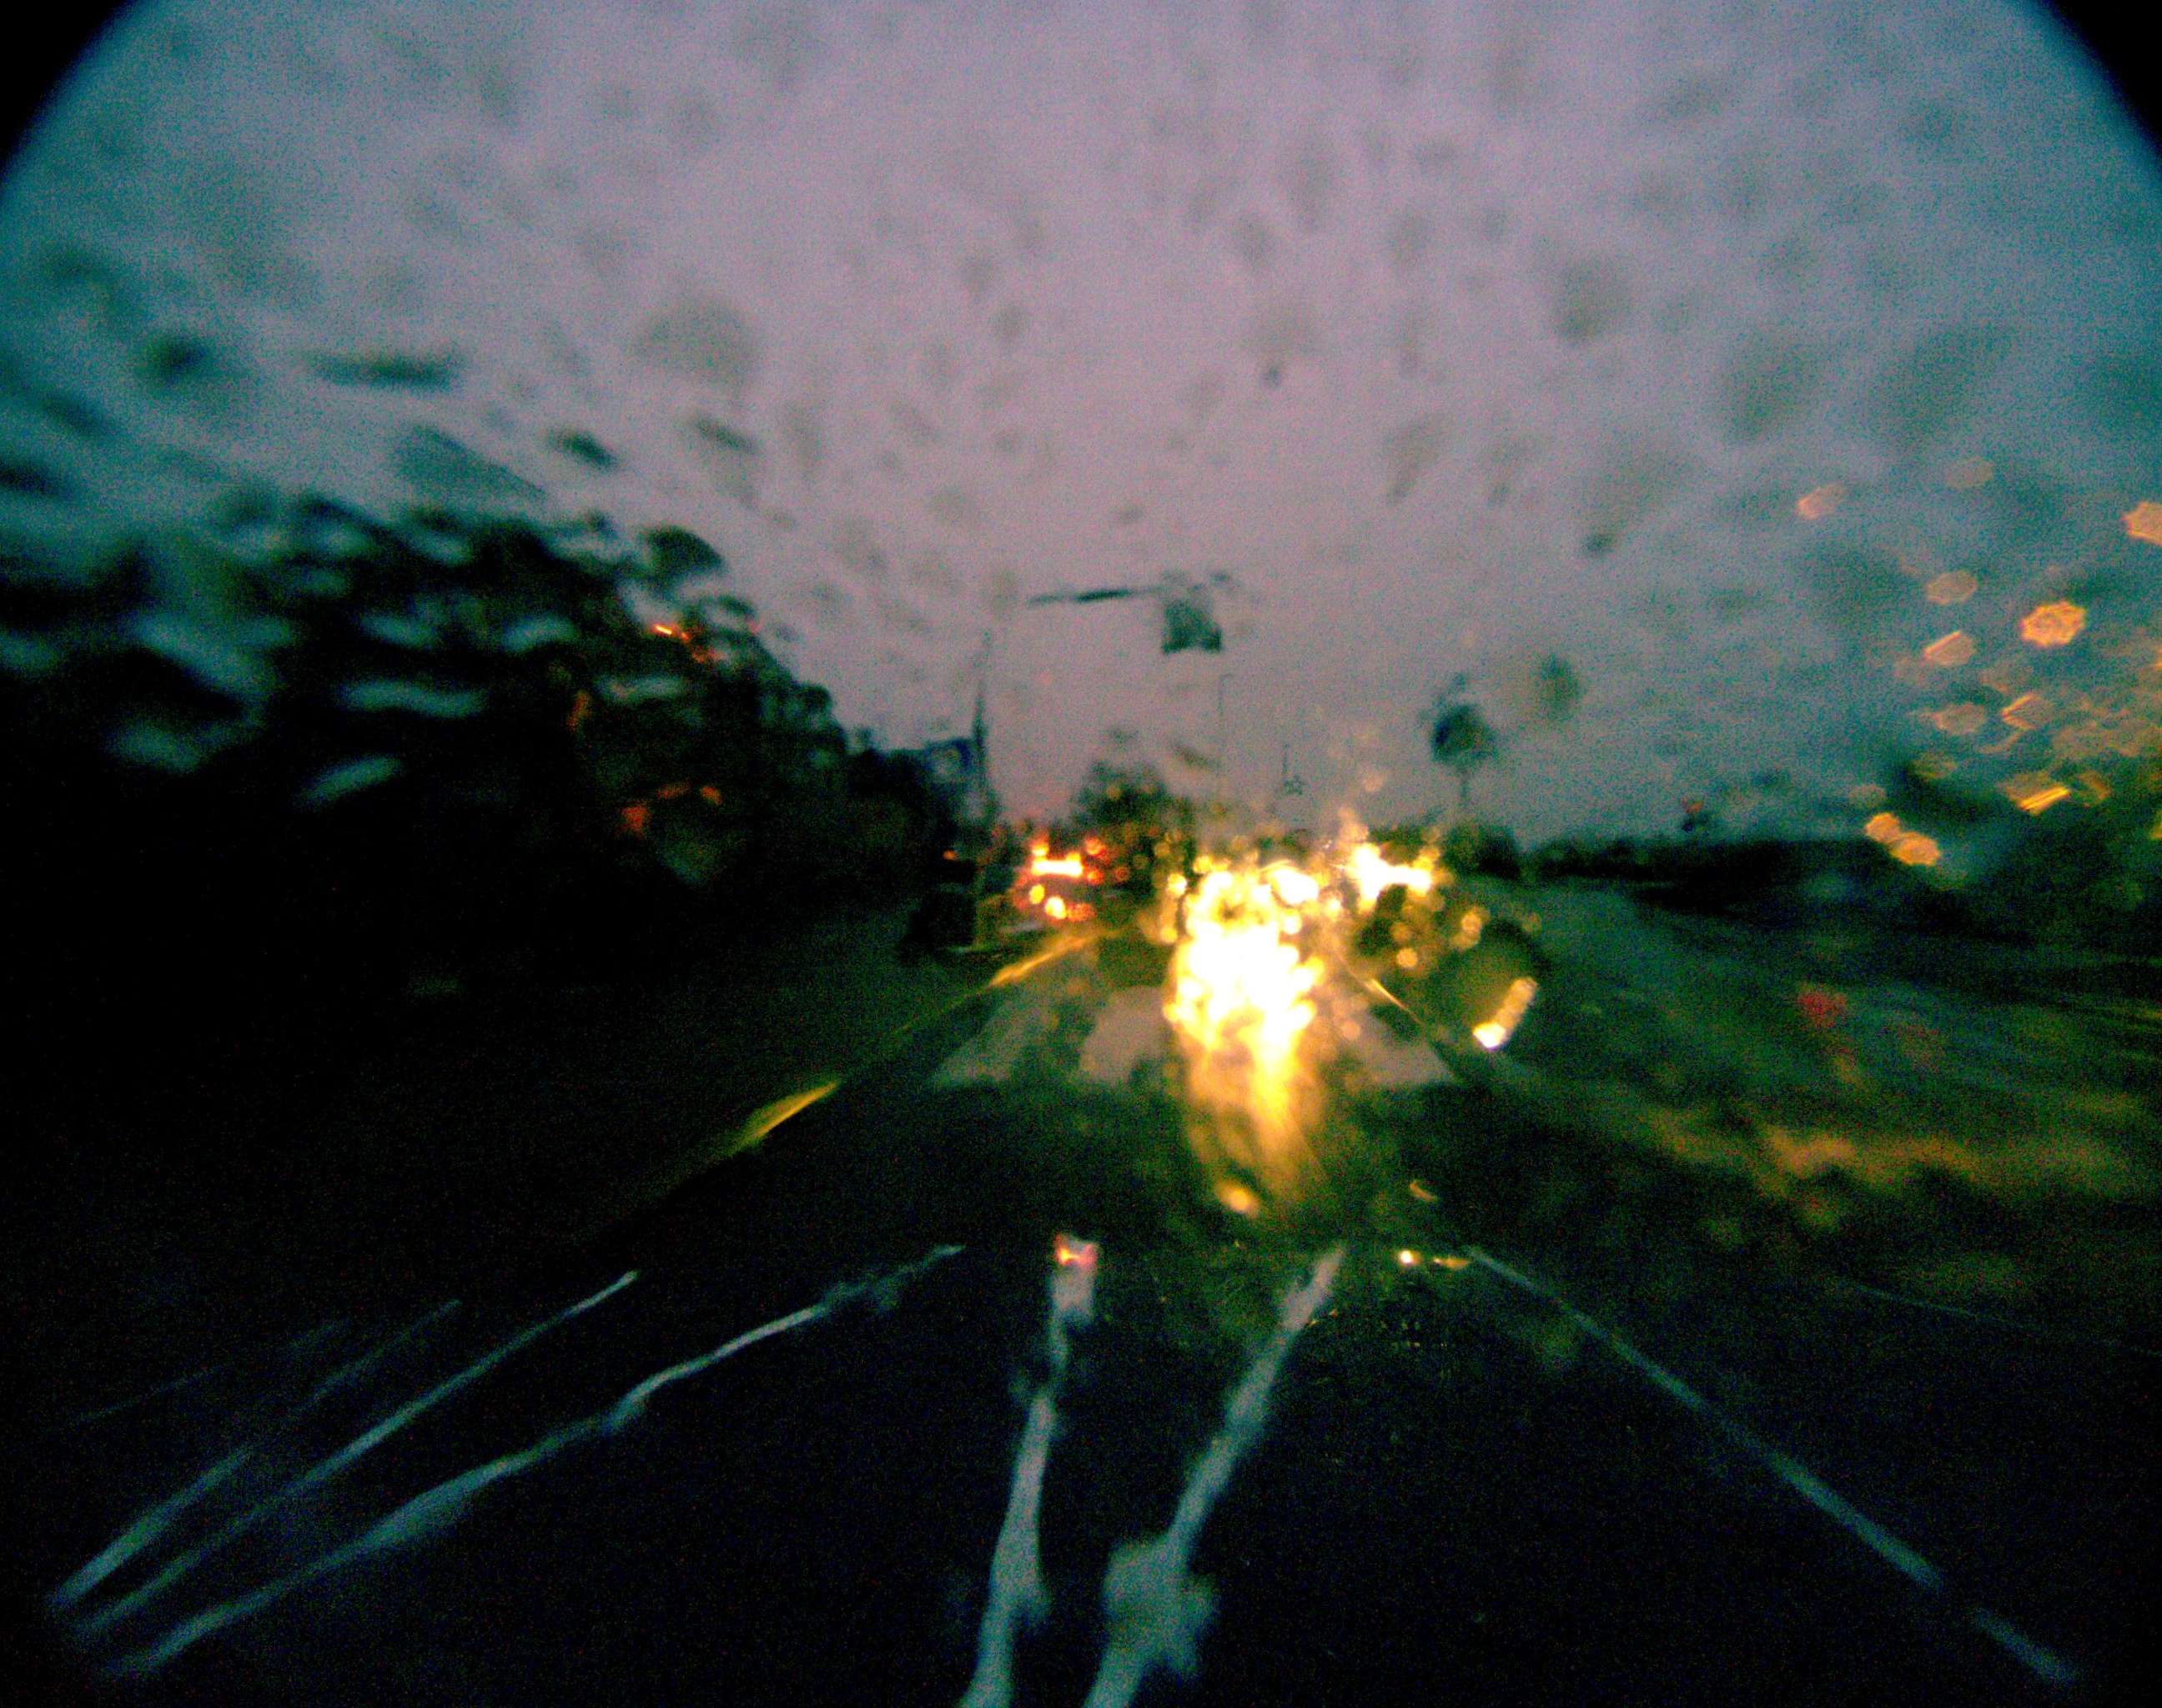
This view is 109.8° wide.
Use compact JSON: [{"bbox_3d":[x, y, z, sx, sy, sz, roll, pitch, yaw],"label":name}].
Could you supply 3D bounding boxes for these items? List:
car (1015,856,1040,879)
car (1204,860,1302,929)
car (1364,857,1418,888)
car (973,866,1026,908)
[{"bbox_3d":[-4.366,1.105,61.774,1.948,1.795,4.171,-1,0,-4],"label":"car"},{"bbox_3d":[4.705,0.975,20.348,1.773,1.632,4.429,0,0,23],"label":"car"},{"bbox_3d":[15.720,0.915,38.710,1.996,1.464,4.004,-1,0,14],"label":"car"},{"bbox_3d":[-3.027,1.198,28.855,1.776,1.422,3.795,-1,-1,-3],"label":"car"}]
